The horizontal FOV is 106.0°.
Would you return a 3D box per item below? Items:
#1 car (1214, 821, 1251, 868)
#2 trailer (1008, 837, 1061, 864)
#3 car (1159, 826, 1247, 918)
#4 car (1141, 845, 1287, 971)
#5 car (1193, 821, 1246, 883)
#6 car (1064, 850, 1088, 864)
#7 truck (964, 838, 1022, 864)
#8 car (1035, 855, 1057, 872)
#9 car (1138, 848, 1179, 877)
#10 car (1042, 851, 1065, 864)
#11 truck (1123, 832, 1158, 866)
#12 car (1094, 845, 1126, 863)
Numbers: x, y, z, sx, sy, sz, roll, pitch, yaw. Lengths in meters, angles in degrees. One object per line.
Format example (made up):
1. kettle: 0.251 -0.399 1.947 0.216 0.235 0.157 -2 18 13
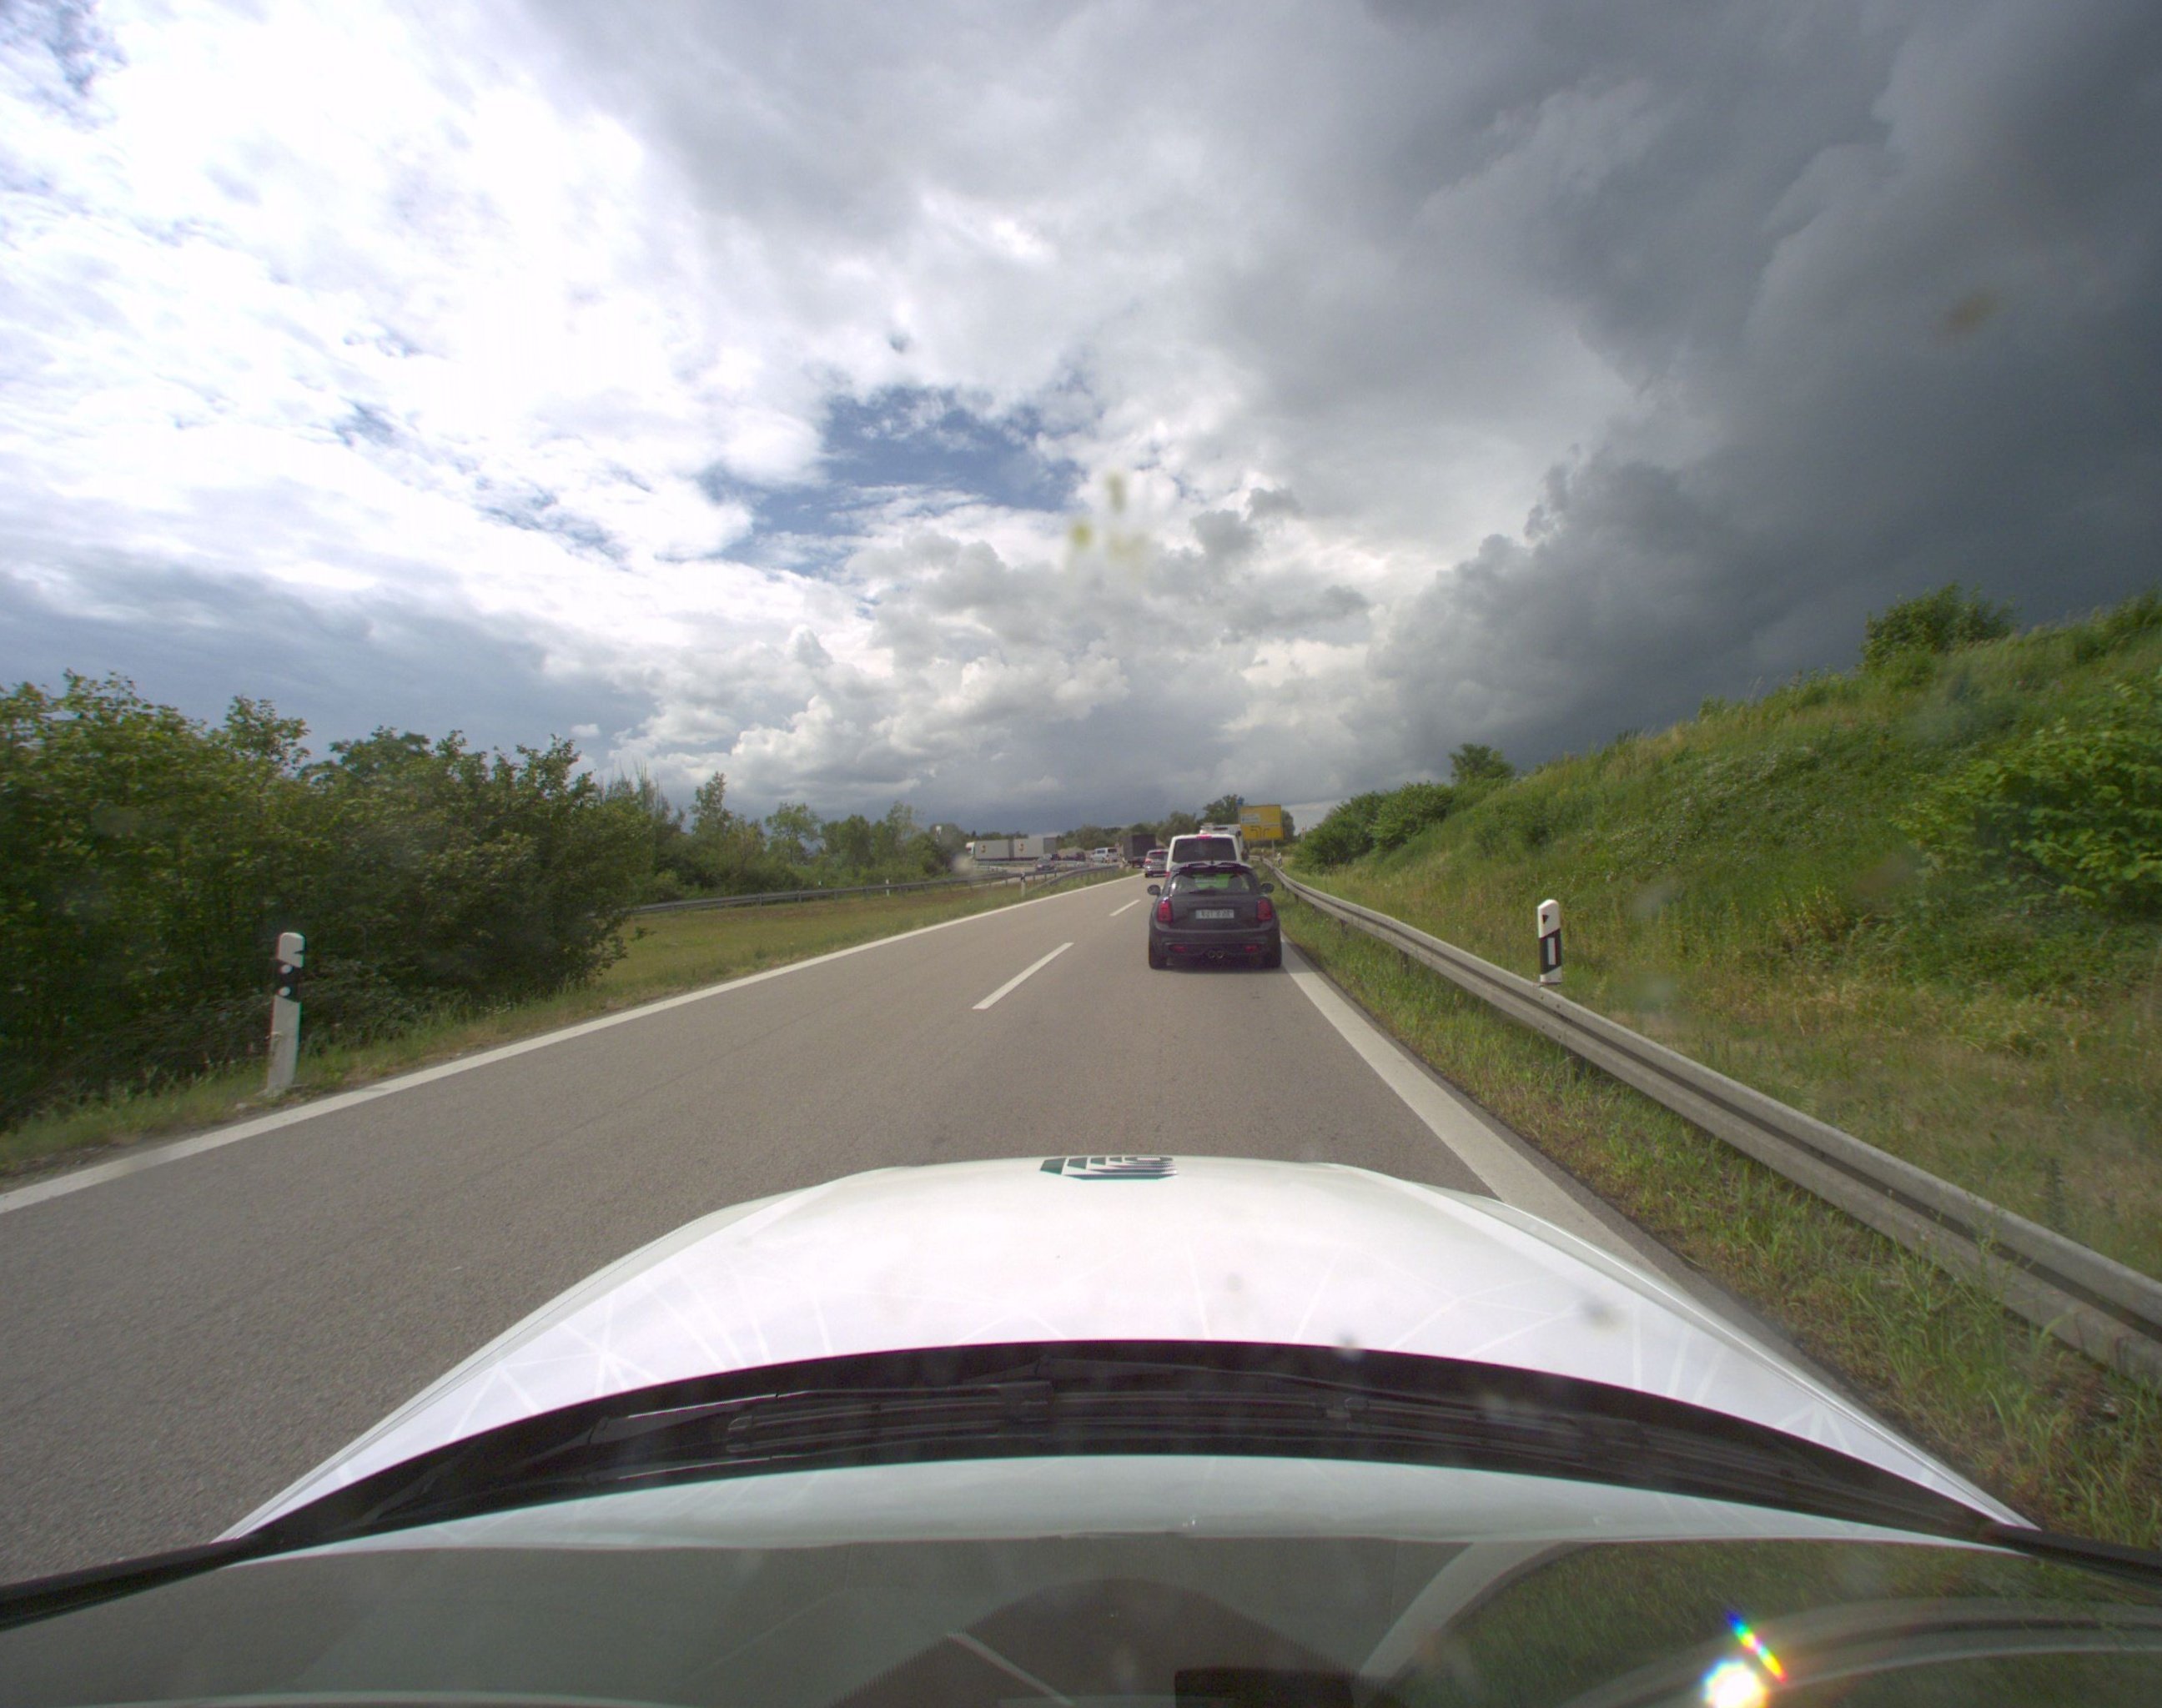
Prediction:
1. car: 10.680 -0.553 56.950 2.295 3.069 6.684 -1 -1 13
2. trailer: -7.109 -0.524 123.558 3.063 3.898 8.663 1 -2 -45
3. car: 3.122 0.428 20.310 1.899 2.045 4.193 -1 -1 11
4. car: 1.852 0.687 12.018 1.790 1.546 3.744 -1 0 6
5. car: 6.356 -0.042 37.388 2.198 2.623 5.548 -1 -1 9
6. car: -0.751 0.440 117.676 1.931 1.838 4.280 0 -1 -26
7. truck: -14.046 -0.410 129.616 9.900 3.976 2.863 -1 -1 37
8. car: -3.732 0.967 85.421 1.760 1.593 3.986 -4 -1 -9
9. car: 4.728 0.531 49.075 2.008 1.577 4.600 -2 -1 11
10. car: -3.987 0.518 115.671 1.822 1.756 3.965 0 -1 -26
11. truck: 5.862 -0.428 81.545 2.555 3.168 7.458 0 -1 -3
12. car: 3.876 0.009 110.117 2.300 2.260 5.066 0 -1 -24
